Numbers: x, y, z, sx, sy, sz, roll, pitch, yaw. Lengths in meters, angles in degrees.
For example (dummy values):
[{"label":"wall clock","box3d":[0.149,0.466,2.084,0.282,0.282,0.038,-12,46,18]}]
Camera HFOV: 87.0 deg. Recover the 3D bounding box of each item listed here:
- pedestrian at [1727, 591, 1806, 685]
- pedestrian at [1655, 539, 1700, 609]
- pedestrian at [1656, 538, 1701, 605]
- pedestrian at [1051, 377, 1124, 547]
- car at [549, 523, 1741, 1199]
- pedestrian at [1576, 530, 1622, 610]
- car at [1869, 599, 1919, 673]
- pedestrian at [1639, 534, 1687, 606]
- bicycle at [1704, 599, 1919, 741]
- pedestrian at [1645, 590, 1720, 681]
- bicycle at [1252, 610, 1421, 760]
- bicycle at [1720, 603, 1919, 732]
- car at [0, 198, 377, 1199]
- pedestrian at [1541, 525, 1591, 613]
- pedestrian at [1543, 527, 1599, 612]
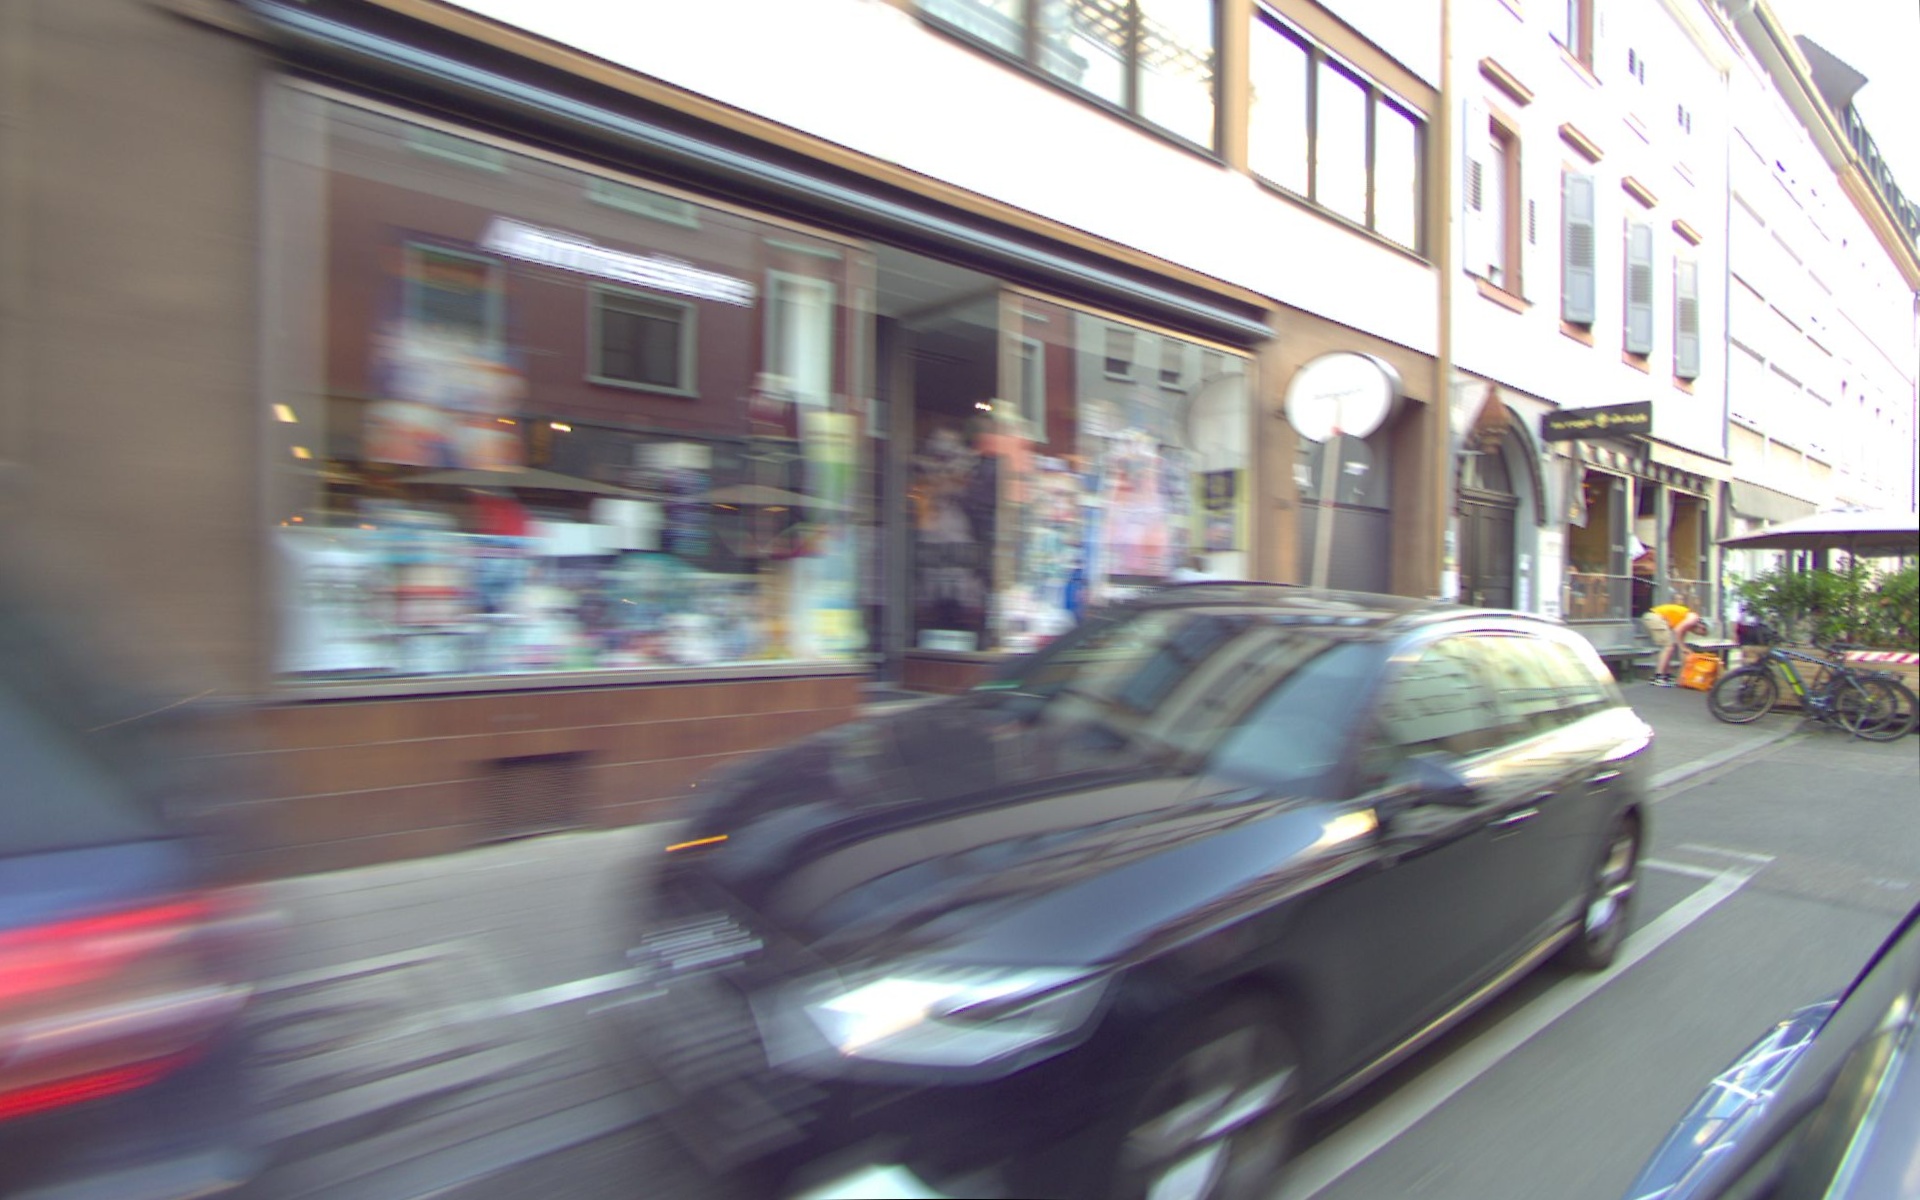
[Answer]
[{"label":"pedestrian","box3d":[11.306,0.511,14.196,0.634,1.258,0.736,-1,0,-39]},{"label":"pedestrian","box3d":[13.133,-0.479,18.539,0.560,1.258,0.467,1,1,21]},{"label":"pedestrian","box3d":[13.809,-0.554,19.444,0.599,1.258,0.566,-1,1,-40]},{"label":"pedestrian","box3d":[1.081,-1.145,8.573,0.417,1.366,0.436,-1,0,-43]},{"label":"car","box3d":[1.250,0.641,3.784,4.903,1.535,1.693,0,0,-41]},{"label":"pedestrian","box3d":[10.369,-0.482,16.410,0.599,1.258,0.467,-1,1,-41]},{"label":"car","box3d":[19.035,0.654,19.382,3.930,1.312,1.938,0,0,-41]},{"label":"pedestrian","box3d":[12.524,-0.527,18.023,0.599,1.258,0.566,-1,1,-40]},{"label":"bicycle","box3d":[9.493,0.716,11.201,0.586,1.318,1.874,0,4,-39]},{"label":"pedestrian","box3d":[10.435,0.490,14.623,0.635,1.258,0.736,-1,1,-40]},{"label":"bicycle","box3d":[3.220,0.669,8.582,1.721,1.103,0.520,0,4,-41]},{"label":"bicycle","box3d":[10.003,0.726,11.638,0.586,1.242,1.874,0,4,-39]},{"label":"car","box3d":[-2.802,0.540,0.496,4.164,1.829,1.673,0,-1,-40]},{"label":"pedestrian","box3d":[8.914,-0.452,14.888,0.599,1.258,0.467,-1,1,-41]},{"label":"pedestrian","box3d":[9.347,-0.462,15.483,0.599,1.258,0.566,-1,1,-40]}]
